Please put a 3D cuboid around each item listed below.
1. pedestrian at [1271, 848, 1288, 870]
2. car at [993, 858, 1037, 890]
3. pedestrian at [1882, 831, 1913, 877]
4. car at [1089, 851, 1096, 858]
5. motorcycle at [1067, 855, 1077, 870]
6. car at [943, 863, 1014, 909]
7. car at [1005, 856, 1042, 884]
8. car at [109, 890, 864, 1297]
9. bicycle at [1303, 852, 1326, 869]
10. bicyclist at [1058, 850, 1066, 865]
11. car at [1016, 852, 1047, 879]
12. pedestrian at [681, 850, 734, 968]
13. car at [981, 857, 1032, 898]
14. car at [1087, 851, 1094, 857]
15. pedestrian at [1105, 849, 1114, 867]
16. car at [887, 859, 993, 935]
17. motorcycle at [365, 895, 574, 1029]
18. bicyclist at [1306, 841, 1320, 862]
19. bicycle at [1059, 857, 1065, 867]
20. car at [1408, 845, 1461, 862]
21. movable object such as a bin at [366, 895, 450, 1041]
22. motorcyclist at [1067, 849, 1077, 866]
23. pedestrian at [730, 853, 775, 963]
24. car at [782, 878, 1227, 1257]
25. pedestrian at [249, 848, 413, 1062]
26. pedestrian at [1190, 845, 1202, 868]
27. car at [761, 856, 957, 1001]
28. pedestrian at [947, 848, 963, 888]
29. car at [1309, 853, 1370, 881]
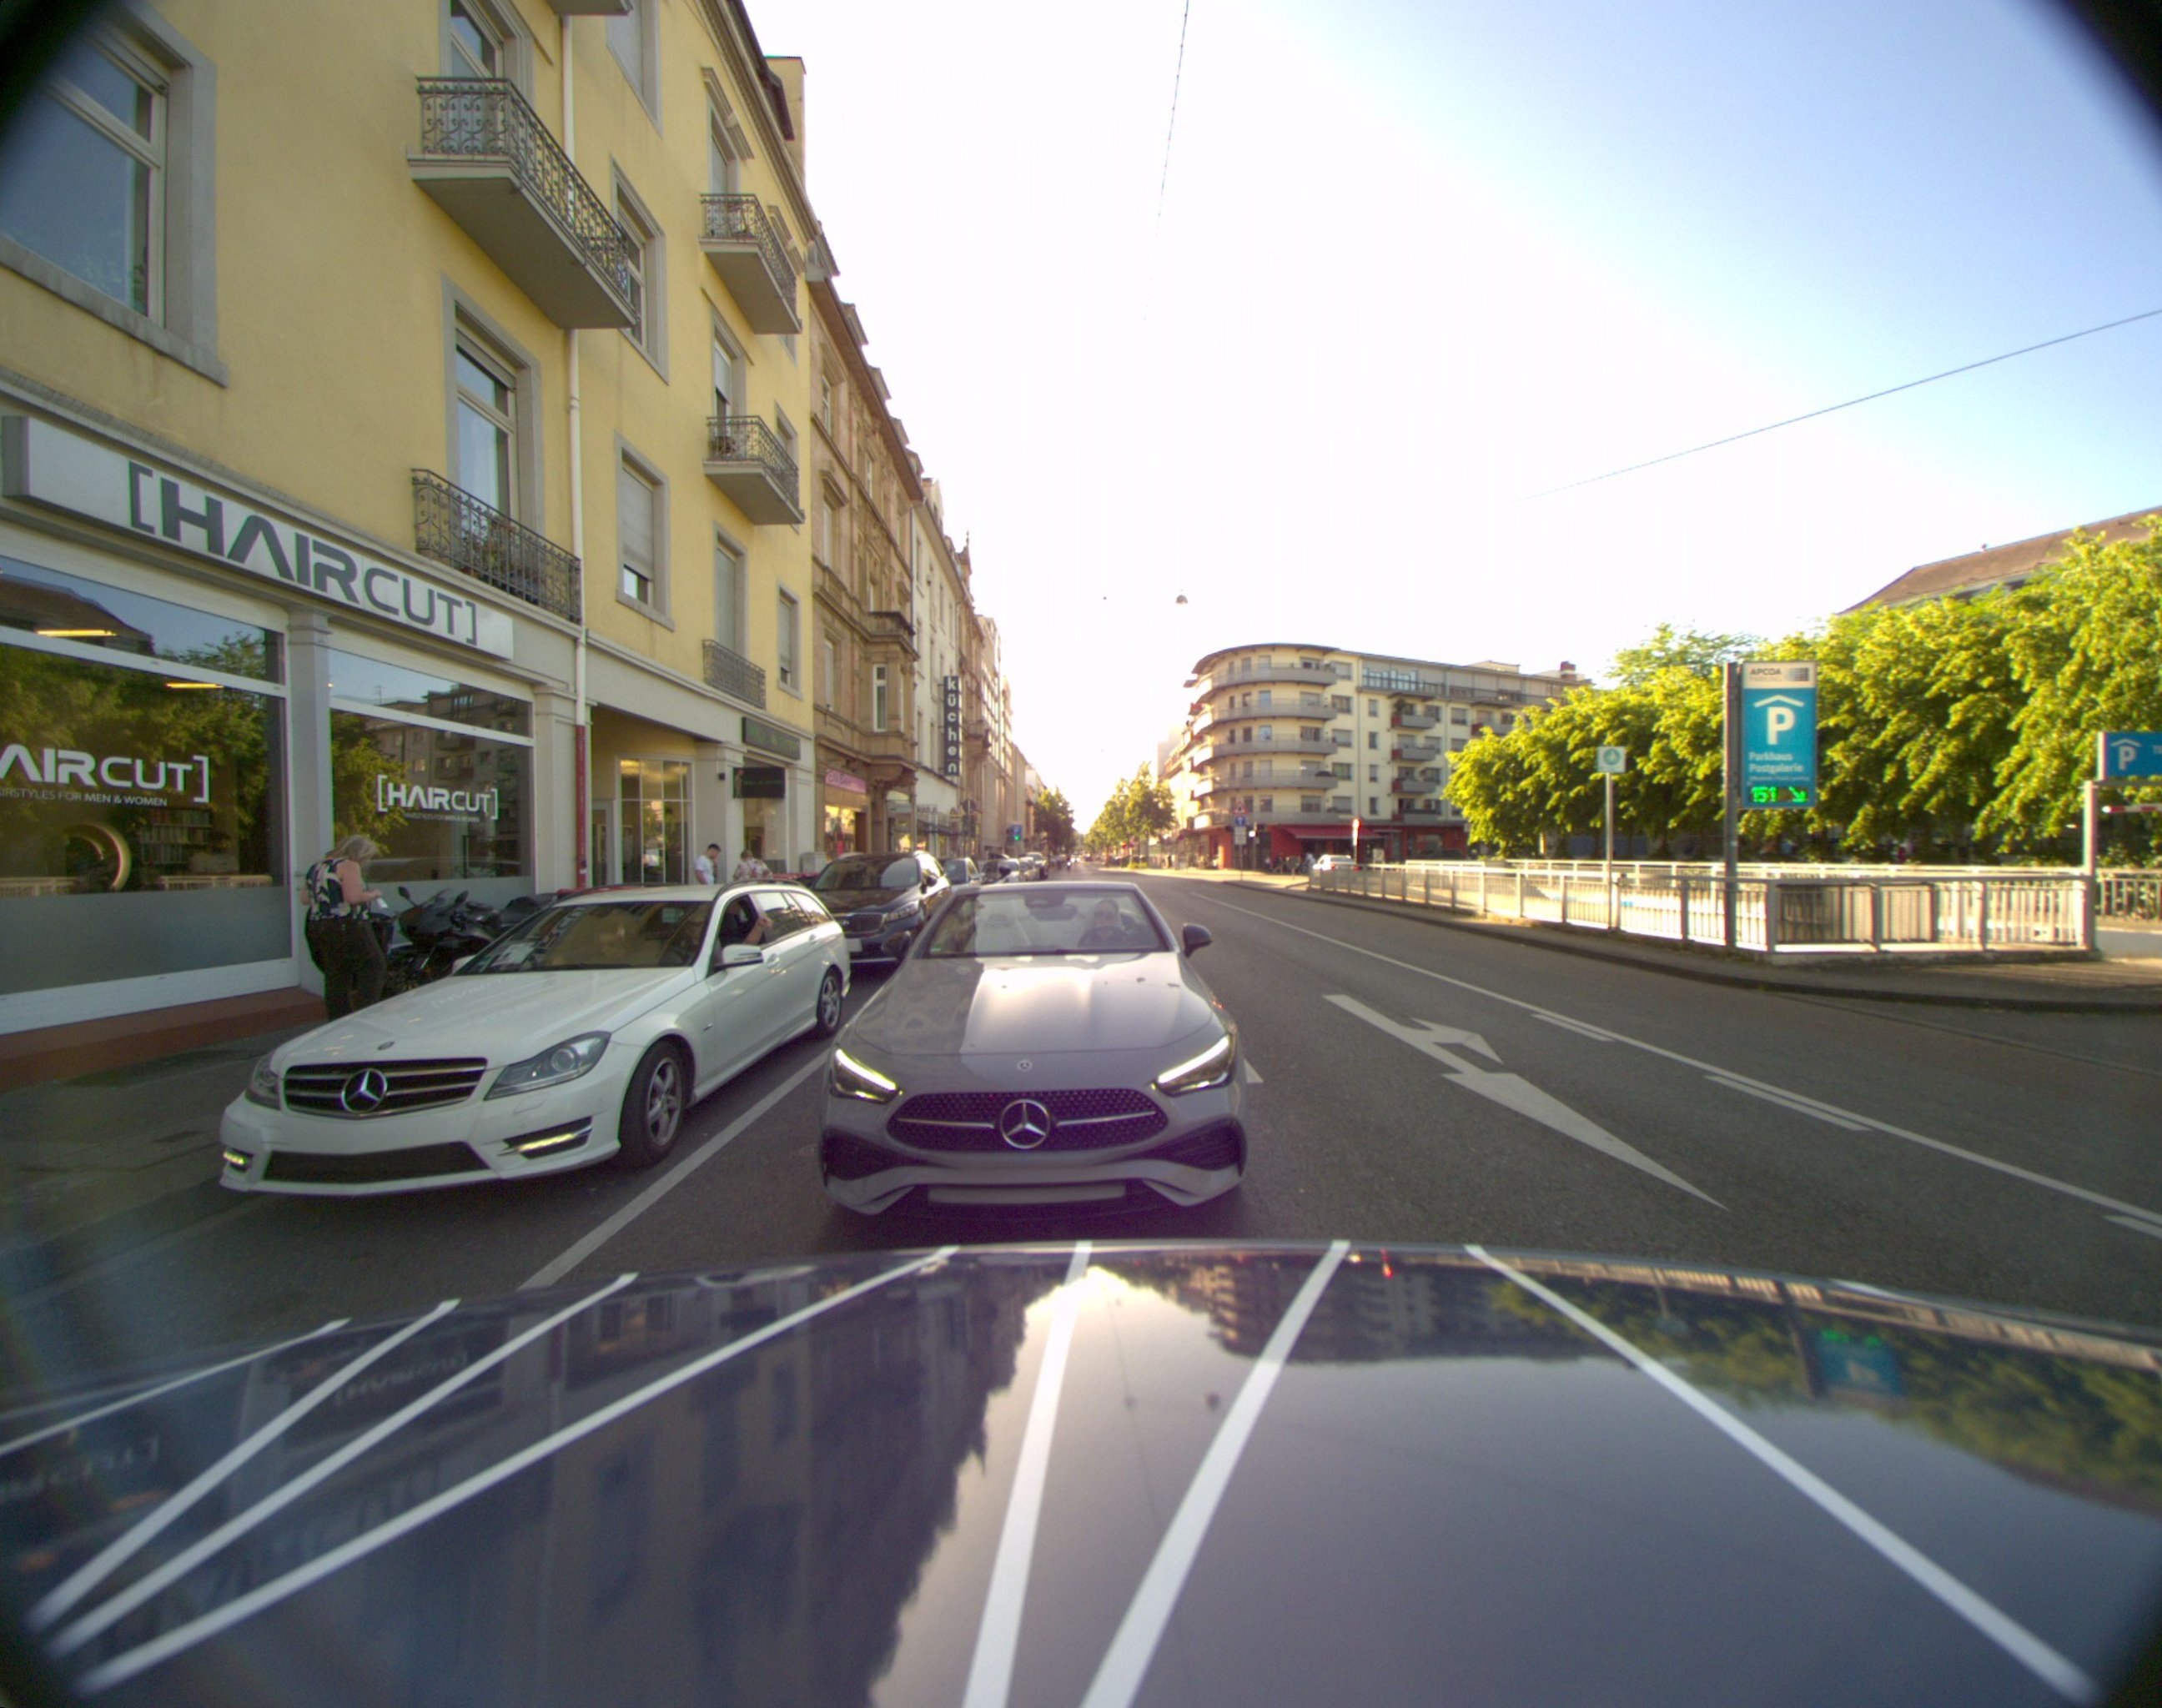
[{"bbox_3d":[15.046,0.368,57.568,0.863,1.586,0.887,-3,1,-38],"label":"pedestrian"},{"bbox_3d":[-3.121,0.919,36.783,1.802,1.332,3.838,-2,1,-1],"label":"car"},{"bbox_3d":[31.562,-0.004,29.367,0.647,1.711,0.607,-3,1,-19],"label":"pedestrian"},{"bbox_3d":[2.735,0.052,176.861,1.615,1.534,3.931,-1,0,1],"label":"car"},{"bbox_3d":[-0.758,0.710,64.799,0.720,1.177,1.906,-2,1,1],"label":"motorcycle"},{"bbox_3d":[-3.339,1.020,25.453,1.802,1.259,4.085,-2,1,-1],"label":"car"},{"bbox_3d":[-3.078,0.837,41.176,1.725,1.332,3.668,-2,1,-1],"label":"car"},{"bbox_3d":[-3.044,1.086,5.284,1.704,1.351,4.378,-2,1,1],"label":"car"},{"bbox_3d":[17.163,0.487,55.813,1.594,1.163,0.527,-2,1,-16],"label":"bicycle"},{"bbox_3d":[-2.136,0.364,84.802,0.885,1.625,0.768,-2,1,-2],"label":"bicyclist"},{"bbox_3d":[-3.061,0.697,47.662,1.725,1.506,4.004,-2,1,-1],"label":"car"},{"bbox_3d":[-6.432,0.917,13.100,0.373,1.971,0.695,0,1,23],"label":"pedestrian"},{"bbox_3d":[-2.944,0.886,30.703,1.660,1.423,4.085,-2,1,-1],"label":"car"},{"bbox_3d":[2.119,-0.004,176.509,1.615,1.534,3.931,-1,0,1],"label":"car"},{"bbox_3d":[3.205,0.449,85.397,0.860,2.002,0.889,-2,1,1],"label":"pedestrian"},{"bbox_3d":[-3.305,0.944,18.579,1.802,1.518,4.085,-2,1,-1],"label":"car"},{"bbox_3d":[-6.209,1.035,7.880,0.567,1.072,1.954,2,1,1],"label":"motorcycle"},{"bbox_3d":[17.033,-0.190,55.764,0.799,1.539,0.524,-2,1,-15],"label":"bicyclist"},{"bbox_3d":[-2.118,0.904,84.745,0.641,1.078,2.061,-1,0,-1],"label":"bicycle"},{"bbox_3d":[29.040,-0.048,62.433,4.004,1.294,1.753,-2,1,-23],"label":"car"},{"bbox_3d":[-5.956,0.994,6.737,0.391,1.231,0.394,1,1,1],"label":"movable object such as a bin"},{"bbox_3d":[-0.774,0.319,64.753,0.722,1.438,0.705,-2,1,1],"label":"motorcyclist"},{"bbox_3d":[-5.710,0.909,13.207,0.576,1.840,0.663,-3,1,-30],"label":"pedestrian"},{"bbox_3d":[-0.294,0.956,5.160,1.802,1.351,3.999,-2,1,1],"label":"car"},{"bbox_3d":[-6.063,0.779,6.175,0.719,1.644,0.606,1,1,1],"label":"pedestrian"},{"bbox_3d":[10.296,0.182,68.097,0.860,2.002,0.889,-2,1,0],"label":"pedestrian"},{"bbox_3d":[-3.031,0.911,11.317,1.803,1.629,4.243,-2,1,-3],"label":"car"},{"bbox_3d":[-5.913,0.668,35.674,0.574,1.840,0.665,-2,1,1],"label":"pedestrian"},{"bbox_3d":[13.952,0.675,41.290,1.823,1.345,4.264,1,1,0],"label":"car"}]
